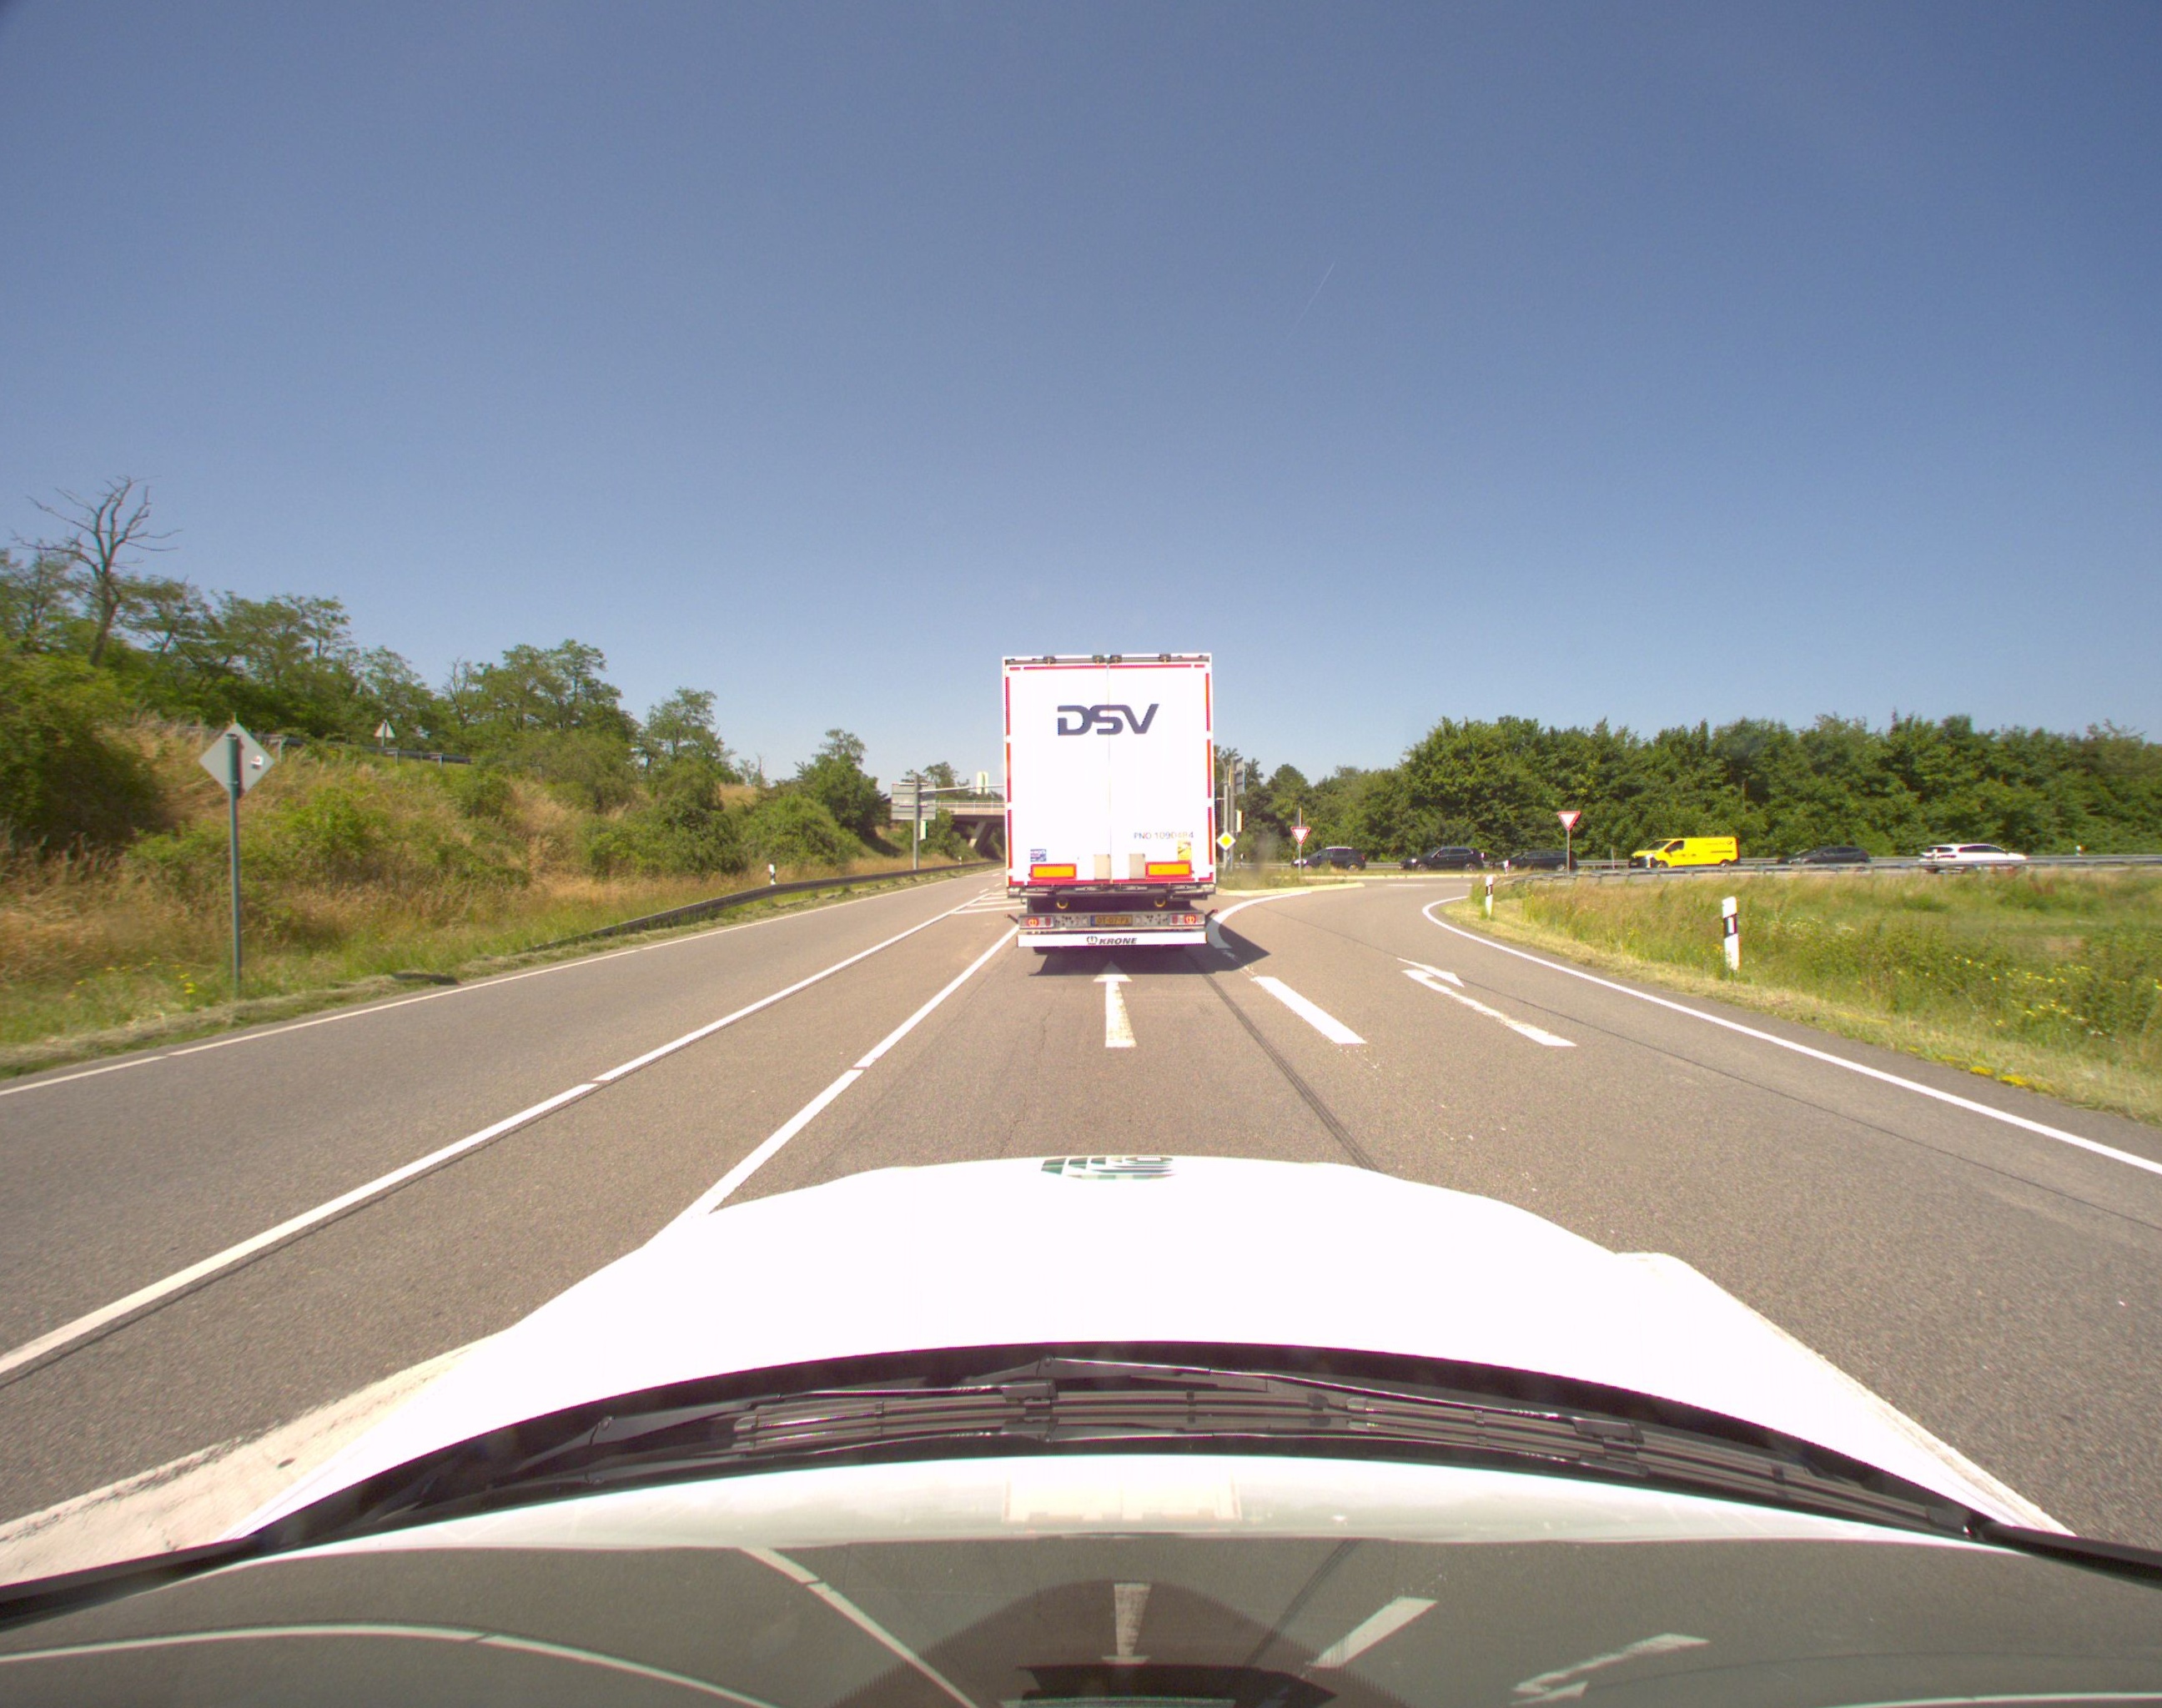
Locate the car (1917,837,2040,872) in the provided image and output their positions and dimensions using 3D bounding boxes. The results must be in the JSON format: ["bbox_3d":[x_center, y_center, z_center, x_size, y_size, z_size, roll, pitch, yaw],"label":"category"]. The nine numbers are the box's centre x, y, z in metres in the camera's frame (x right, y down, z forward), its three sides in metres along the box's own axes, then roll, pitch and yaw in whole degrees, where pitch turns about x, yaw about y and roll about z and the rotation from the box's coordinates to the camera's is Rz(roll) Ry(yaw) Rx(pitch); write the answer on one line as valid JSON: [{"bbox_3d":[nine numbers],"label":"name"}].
[{"bbox_3d":[44.708,0.015,40.611,4.460,1.567,1.737,-2,0,-4],"label":"car"}]

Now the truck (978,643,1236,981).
[{"bbox_3d":[0.430,-0.486,14.520,2.977,3.942,9.878,-1,0,1],"label":"truck"}]

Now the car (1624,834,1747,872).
[{"bbox_3d":[33.873,-0.028,45.735,5.300,2.014,2.001,-1,-1,3],"label":"car"}]

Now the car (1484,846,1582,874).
[{"bbox_3d":[26.433,0.358,47.736,4.655,1.514,1.858,-1,-1,9],"label":"car"}]

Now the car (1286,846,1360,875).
[{"bbox_3d":[14.419,0.390,48.704,3.964,1.640,1.845,-1,-1,7],"label":"car"}]

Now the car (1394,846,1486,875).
[{"bbox_3d":[20.466,0.372,46.502,4.466,1.598,1.770,-1,-1,4],"label":"car"}]

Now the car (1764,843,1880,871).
[{"bbox_3d":[41.419,0.170,45.599,4.661,1.514,1.855,-1,-1,4],"label":"car"}]
